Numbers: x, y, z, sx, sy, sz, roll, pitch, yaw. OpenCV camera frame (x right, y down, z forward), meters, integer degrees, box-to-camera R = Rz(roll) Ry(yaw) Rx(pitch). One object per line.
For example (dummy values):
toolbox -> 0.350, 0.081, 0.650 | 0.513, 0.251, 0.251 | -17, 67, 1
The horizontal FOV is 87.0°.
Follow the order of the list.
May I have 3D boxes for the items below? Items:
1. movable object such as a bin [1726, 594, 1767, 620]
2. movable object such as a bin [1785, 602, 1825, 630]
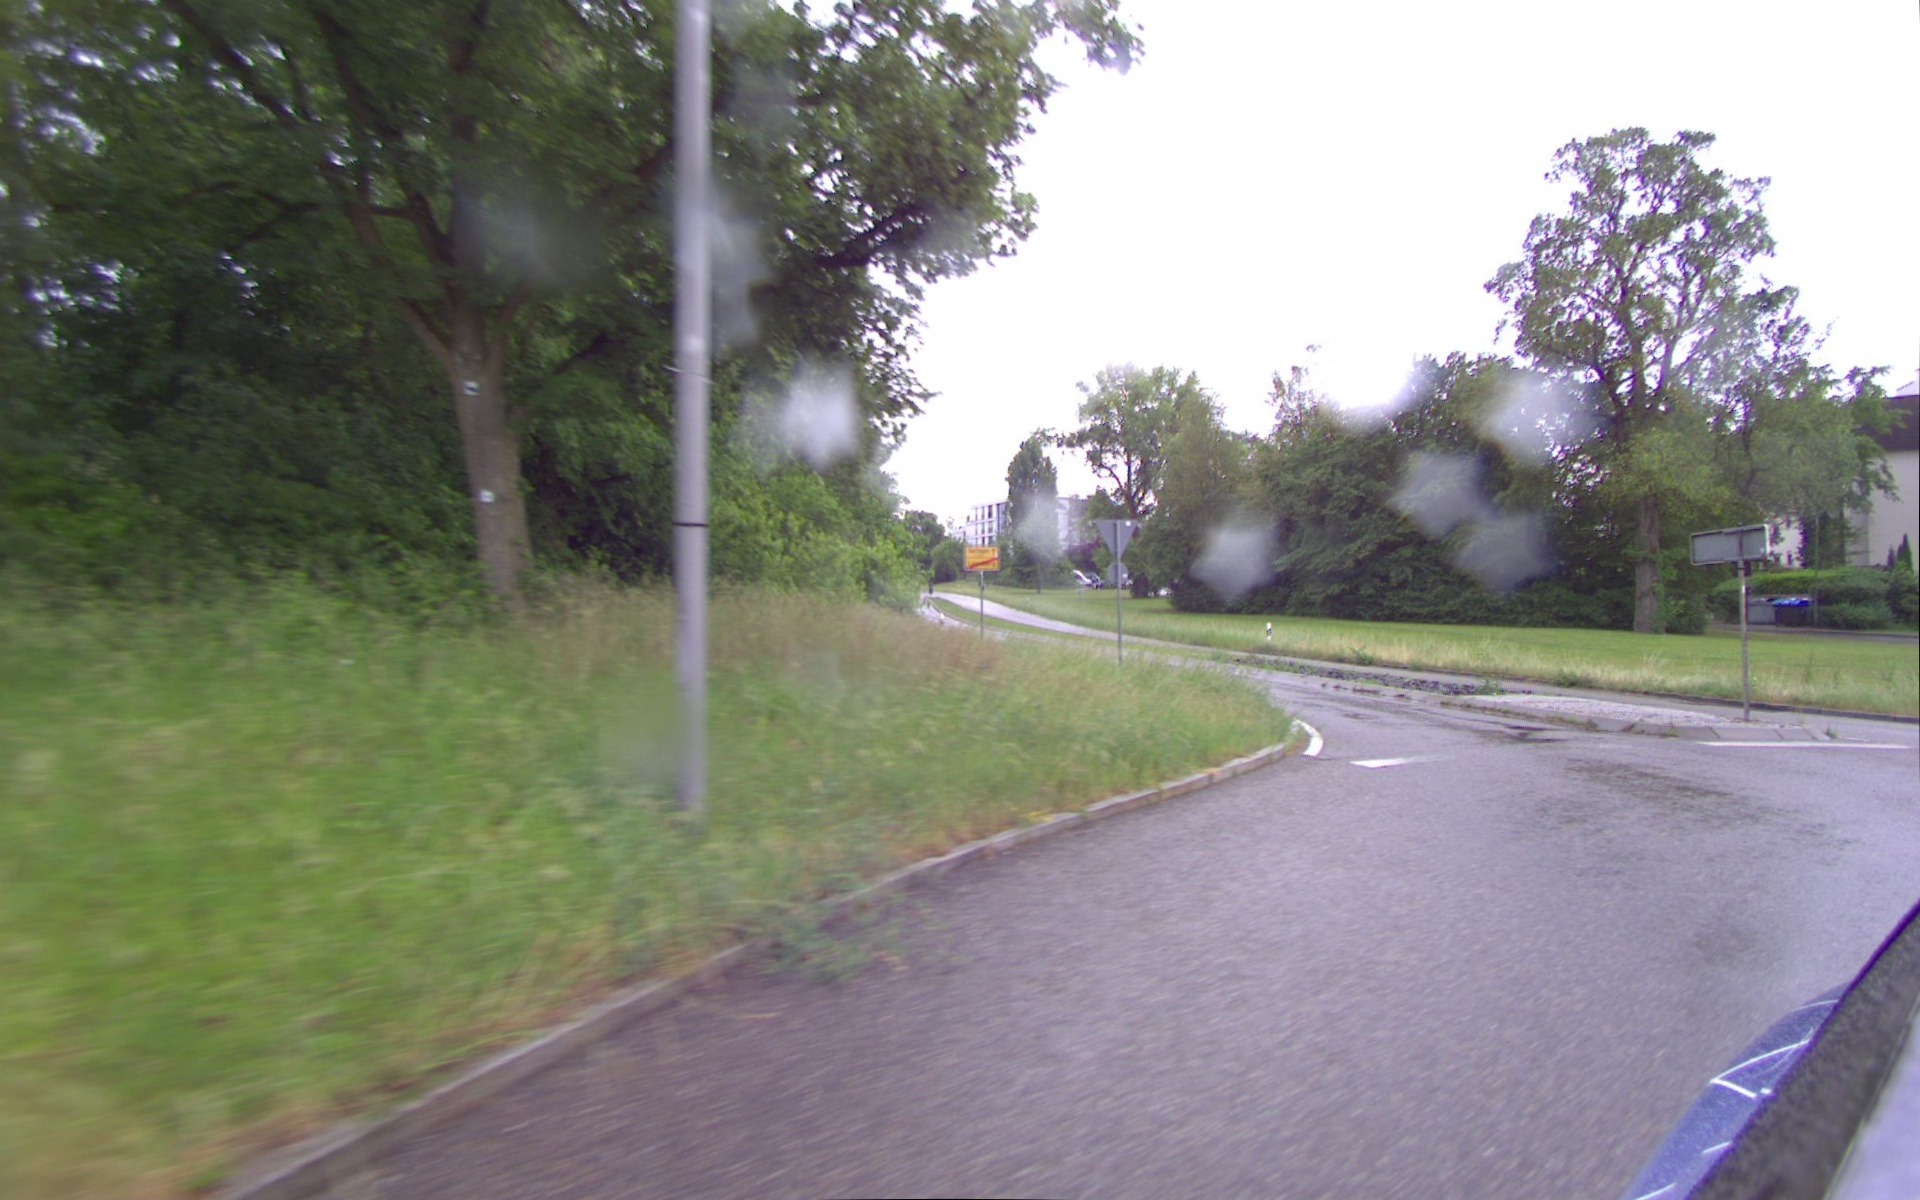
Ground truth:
movable object such as a bin -> 45.134, 0.410, 58.094 | 1.175, 1.455, 1.428 | 1, 0, 0
movable object such as a bin -> 45.587, 0.872, 54.606 | 1.175, 1.455, 1.075 | -1, 0, 0
